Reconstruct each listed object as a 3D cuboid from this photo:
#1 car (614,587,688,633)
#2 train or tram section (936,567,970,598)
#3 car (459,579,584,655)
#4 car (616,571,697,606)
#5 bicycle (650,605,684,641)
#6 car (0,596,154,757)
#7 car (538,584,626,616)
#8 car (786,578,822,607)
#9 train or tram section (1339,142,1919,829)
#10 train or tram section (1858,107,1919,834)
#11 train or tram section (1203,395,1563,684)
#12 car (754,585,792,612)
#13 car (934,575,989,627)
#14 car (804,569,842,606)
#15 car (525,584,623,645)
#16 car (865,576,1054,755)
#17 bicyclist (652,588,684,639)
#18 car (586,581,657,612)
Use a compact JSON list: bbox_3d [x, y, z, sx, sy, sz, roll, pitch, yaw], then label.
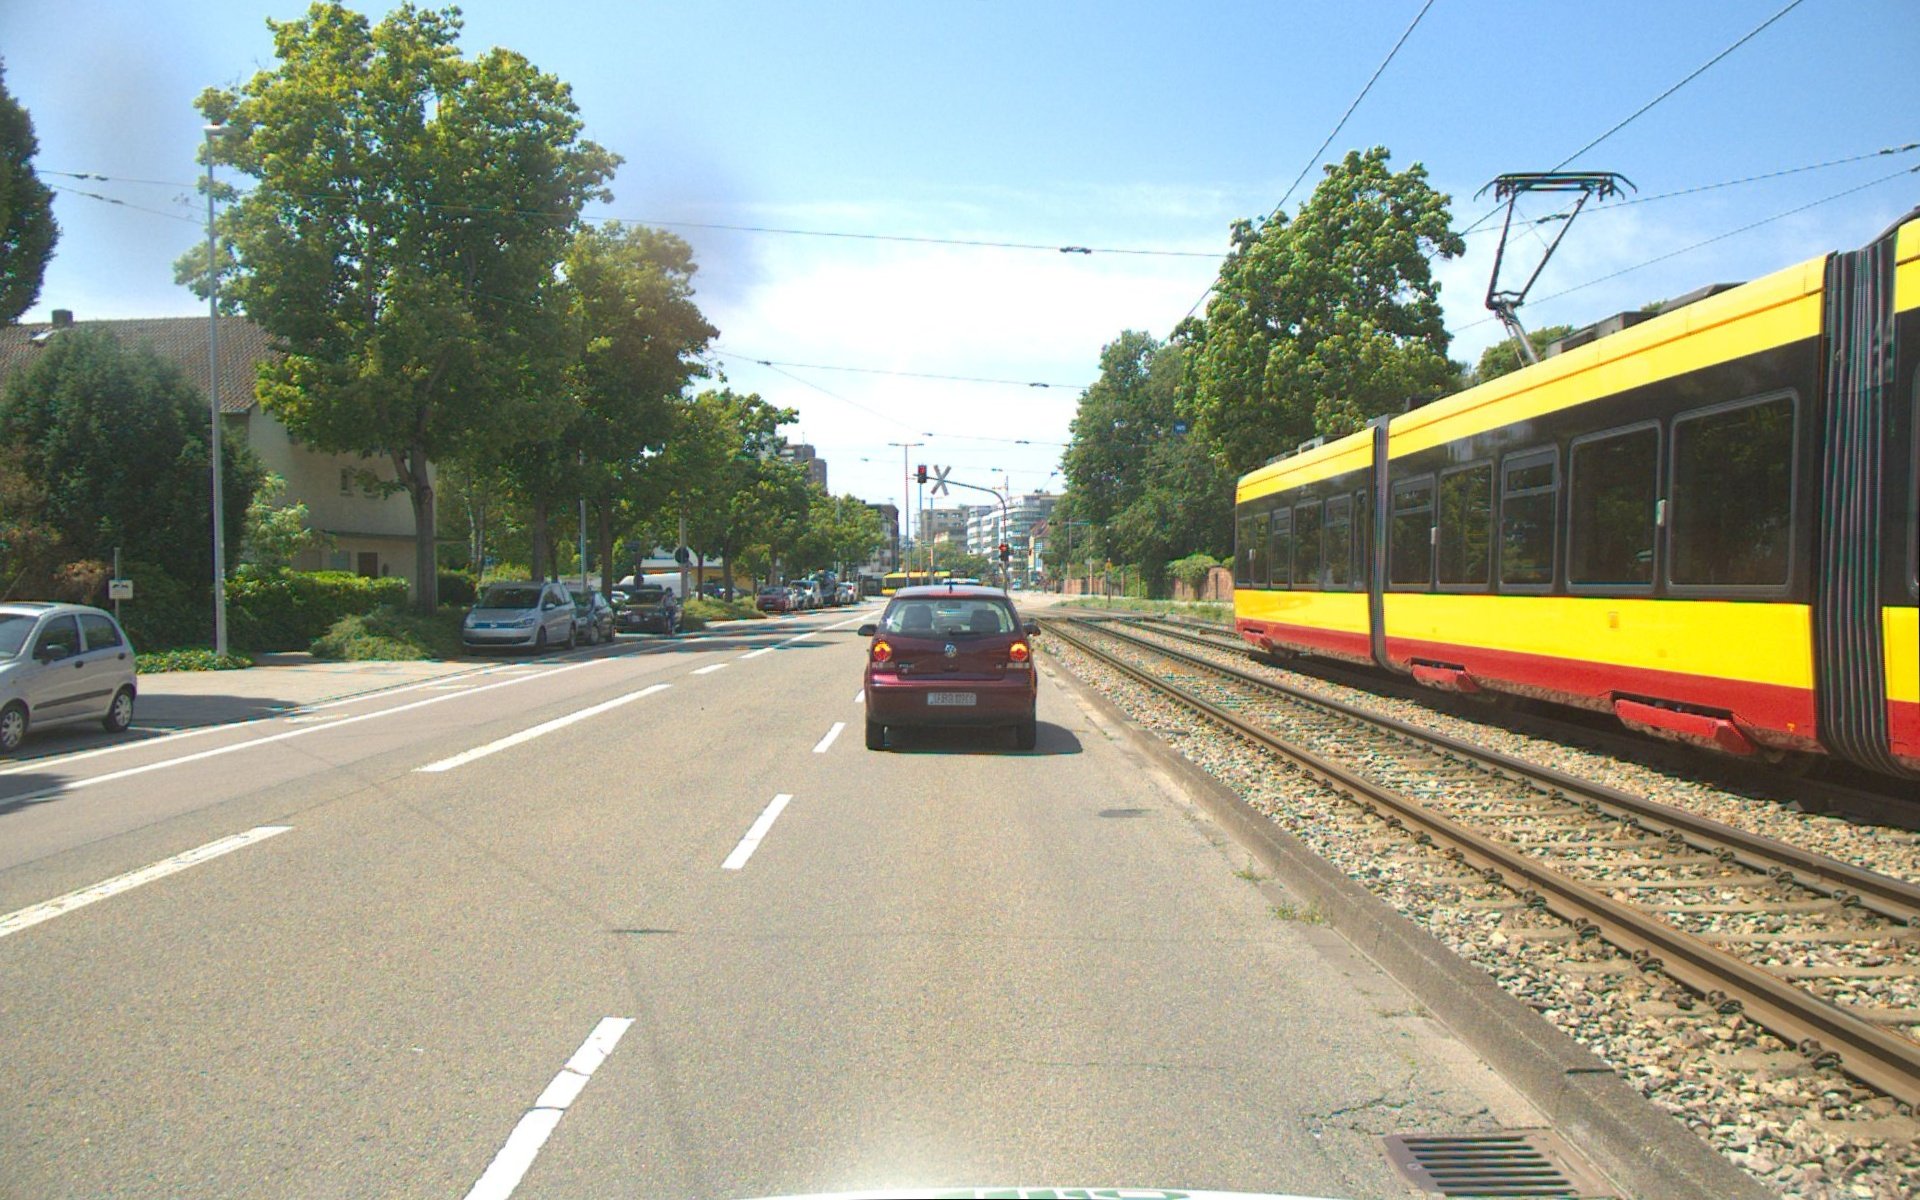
[{"bbox_3d":[-10.674,0.318,57.413,1.781,1.502,4.448,1,1,-1],"label":"car"},{"bbox_3d":[-0.925,-2.221,205.219,2.689,3.672,12.850,1,1,-7],"label":"train or tram section"},{"bbox_3d":[-10.620,0.365,40.403,1.834,1.693,4.780,0,1,-1],"label":"car"},{"bbox_3d":[-20.458,-0.779,111.725,4.992,2.283,2.378,1,0,1],"label":"car"},{"bbox_3d":[-8.863,0.675,50.024,0.688,0.967,2.242,-3,1,-3],"label":"bicycle"},{"bbox_3d":[-10.635,0.791,18.435,1.561,1.521,3.448,4,1,-1],"label":"car"},{"bbox_3d":[-20.647,0.003,90.405,4.251,1.612,1.914,-1,1,5],"label":"car"},{"bbox_3d":[-10.545,-0.470,111.952,1.746,1.914,4.787,1,0,2],"label":"car"},{"bbox_3d":[6.632,-0.741,15.873,2.966,3.864,13.090,-1,1,0],"label":"train or tram section"},{"bbox_3d":[6.572,-0.633,2.845,2.966,3.864,13.090,-1,1,0],"label":"train or tram section"},{"bbox_3d":[6.669,-0.897,28.753,2.966,3.864,12.760,-1,1,0],"label":"train or tram section"},{"bbox_3d":[-10.721,-0.074,95.162,1.628,1.523,4.001,1,0,1],"label":"car"},{"bbox_3d":[0.003,0.011,55.507,1.741,1.676,3.999,1,1,-1],"label":"car"},{"bbox_3d":[-10.339,-0.920,124.997,2.313,2.739,5.307,1,0,0],"label":"car"},{"bbox_3d":[-10.654,0.352,45.944,1.781,1.592,4.180,1,1,-1],"label":"car"},{"bbox_3d":[-0.041,0.547,16.439,1.638,1.548,3.999,1,1,-1],"label":"car"},{"bbox_3d":[-8.843,0.396,50.107,0.720,1.455,1.124,-4,0,-4],"label":"bicyclist"},{"bbox_3d":[-20.660,-0.215,101.167,3.906,1.776,1.998,-2,1,-2],"label":"car"}]
